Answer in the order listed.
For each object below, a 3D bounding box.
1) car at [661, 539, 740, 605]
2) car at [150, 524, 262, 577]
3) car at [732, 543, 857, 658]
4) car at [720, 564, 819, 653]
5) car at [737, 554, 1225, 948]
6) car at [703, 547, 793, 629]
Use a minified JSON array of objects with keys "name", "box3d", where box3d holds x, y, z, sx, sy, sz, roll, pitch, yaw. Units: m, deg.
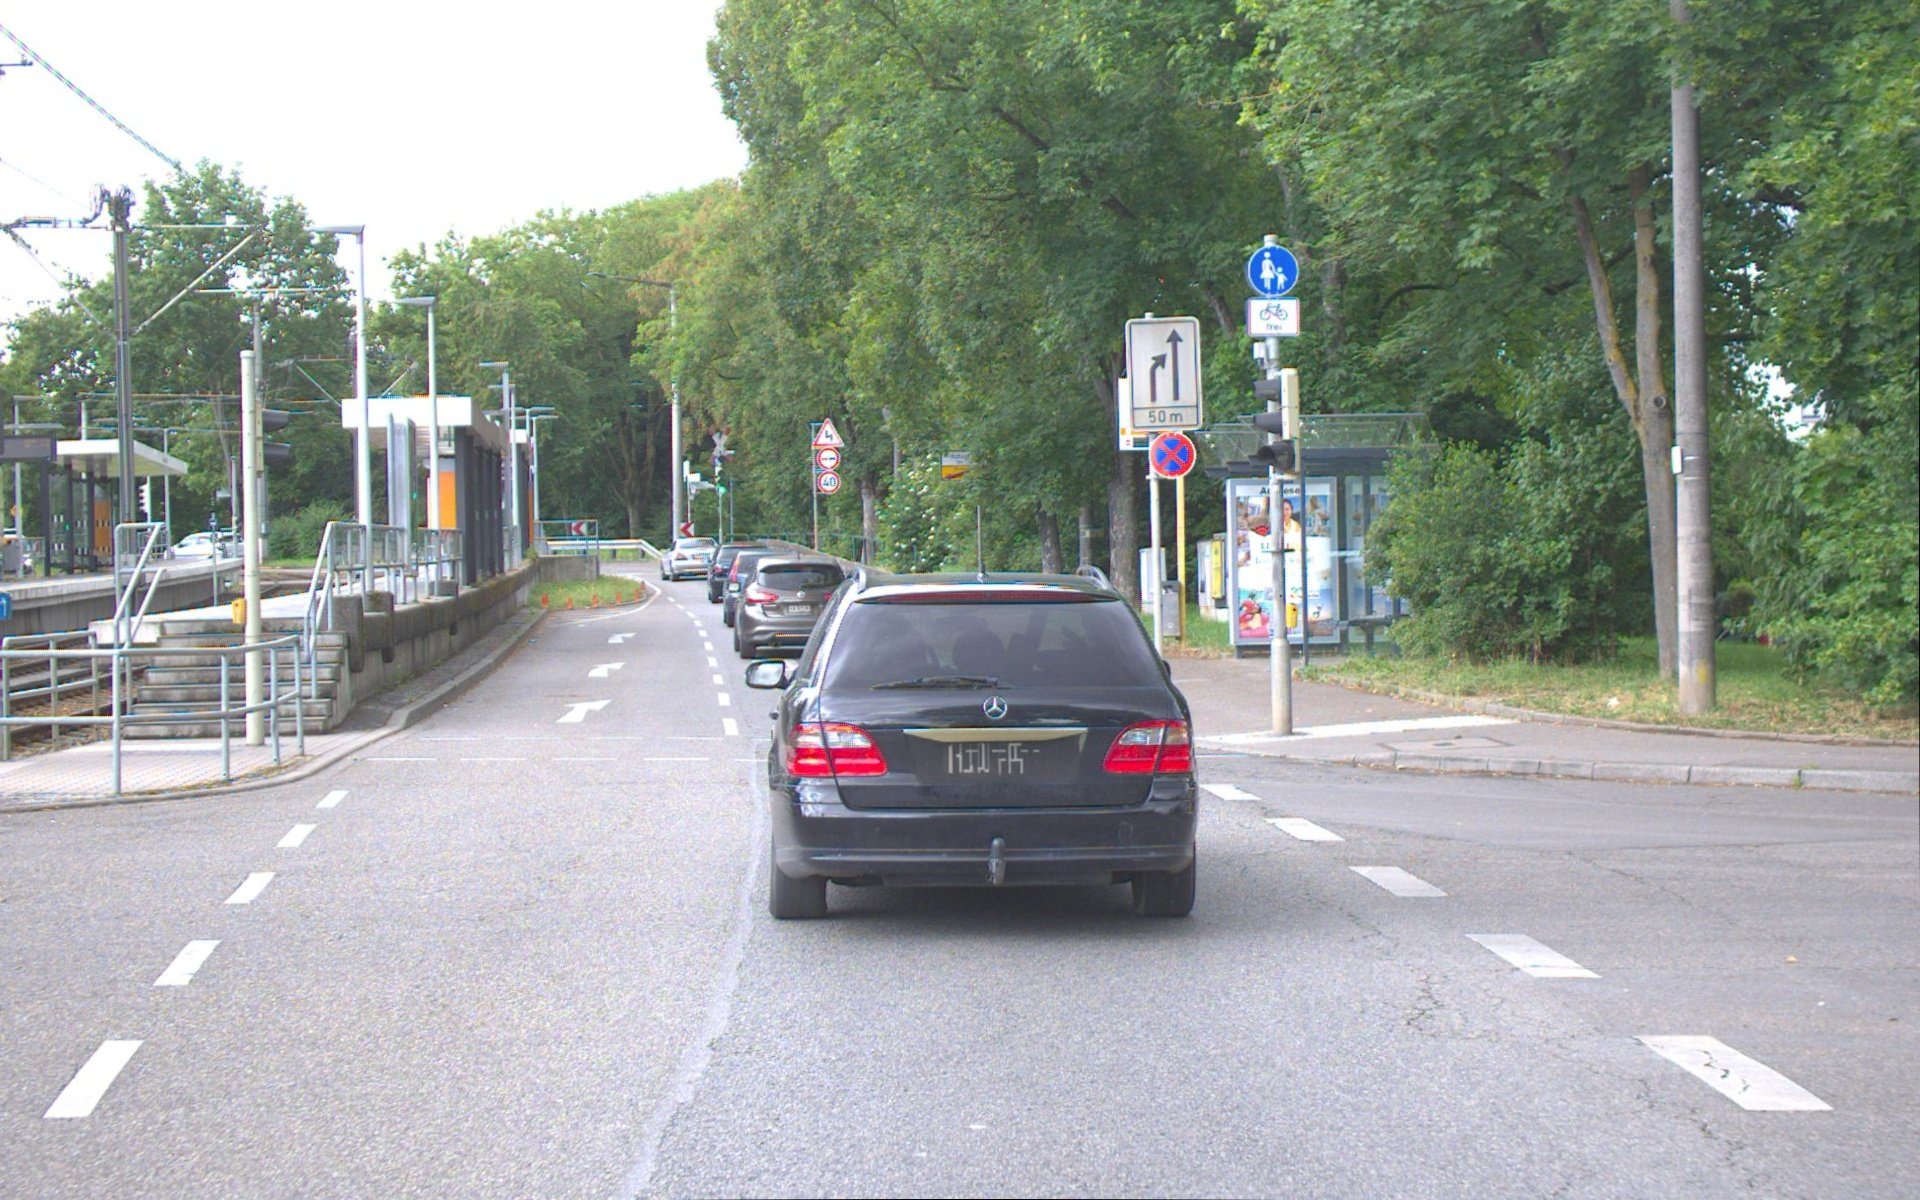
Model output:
[{"name":"car","box3d":[-7.886,-0.821,104.301,1.993,1.886,4.001,1,-1,-10]},{"name":"car","box3d":[-29.455,-1.943,134.297,3.994,2.007,1.996,1,-1,31]},{"name":"car","box3d":[-2.498,0.030,52.171,1.781,1.643,4.000,1,-1,-2]},{"name":"car","box3d":[-3.719,0.180,66.760,1.781,1.643,4.000,1,-1,-5]},{"name":"car","box3d":[-0.043,0.566,15.378,1.781,1.520,4.001,1,1,-5]},{"name":"car","box3d":[-5.176,-0.274,83.608,1.993,1.912,4.001,1,-1,-6]}]
